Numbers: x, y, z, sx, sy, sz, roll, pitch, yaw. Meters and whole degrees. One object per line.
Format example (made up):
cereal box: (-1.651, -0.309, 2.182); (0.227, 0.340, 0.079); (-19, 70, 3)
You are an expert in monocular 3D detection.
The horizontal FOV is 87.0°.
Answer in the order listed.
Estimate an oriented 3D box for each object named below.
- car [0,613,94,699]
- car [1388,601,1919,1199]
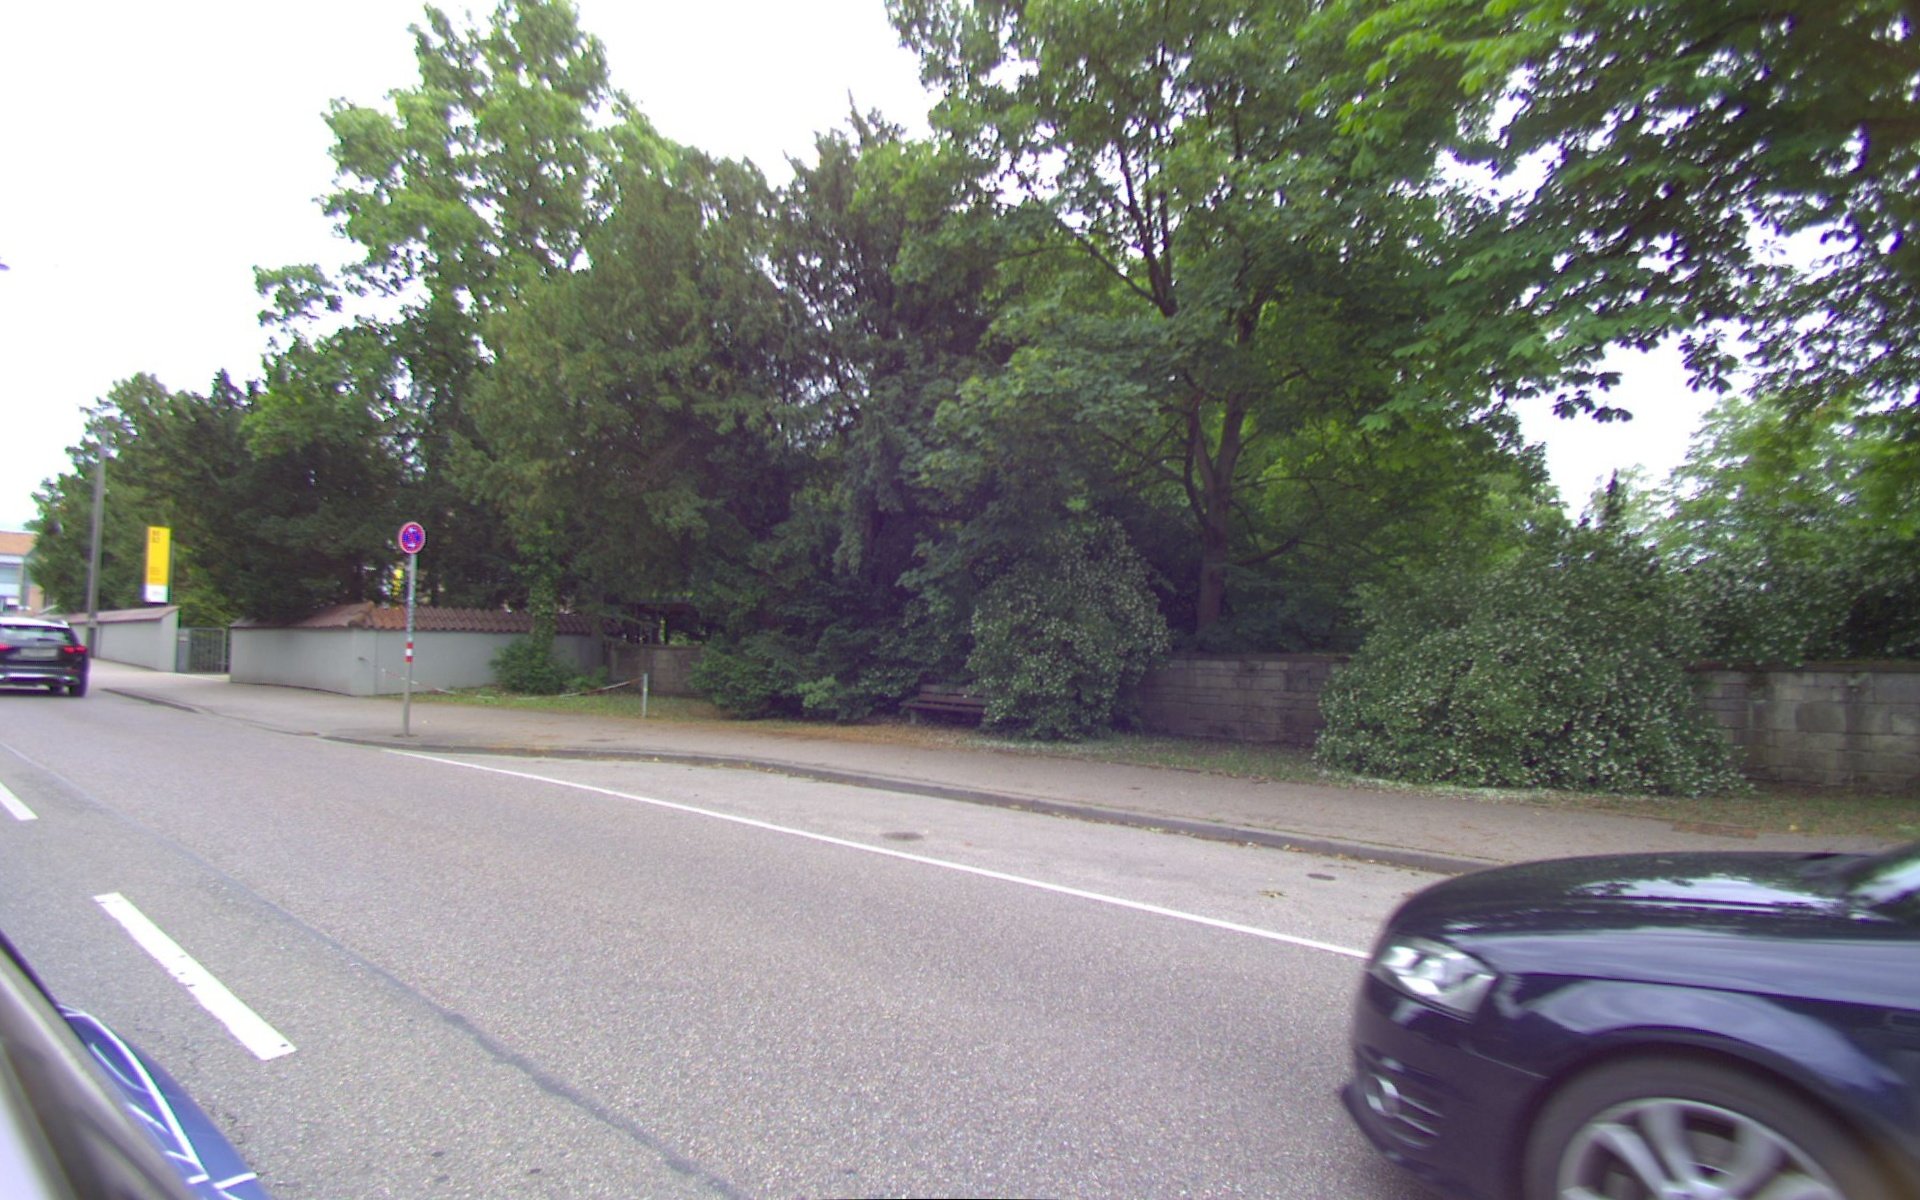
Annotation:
car: (-20.068, 1.160, 21.490); (4.304, 1.670, 1.840); (-1, -6, 41)
car: (3.111, 0.788, 1.632); (4.109, 1.464, 1.840); (-1, -6, 41)
